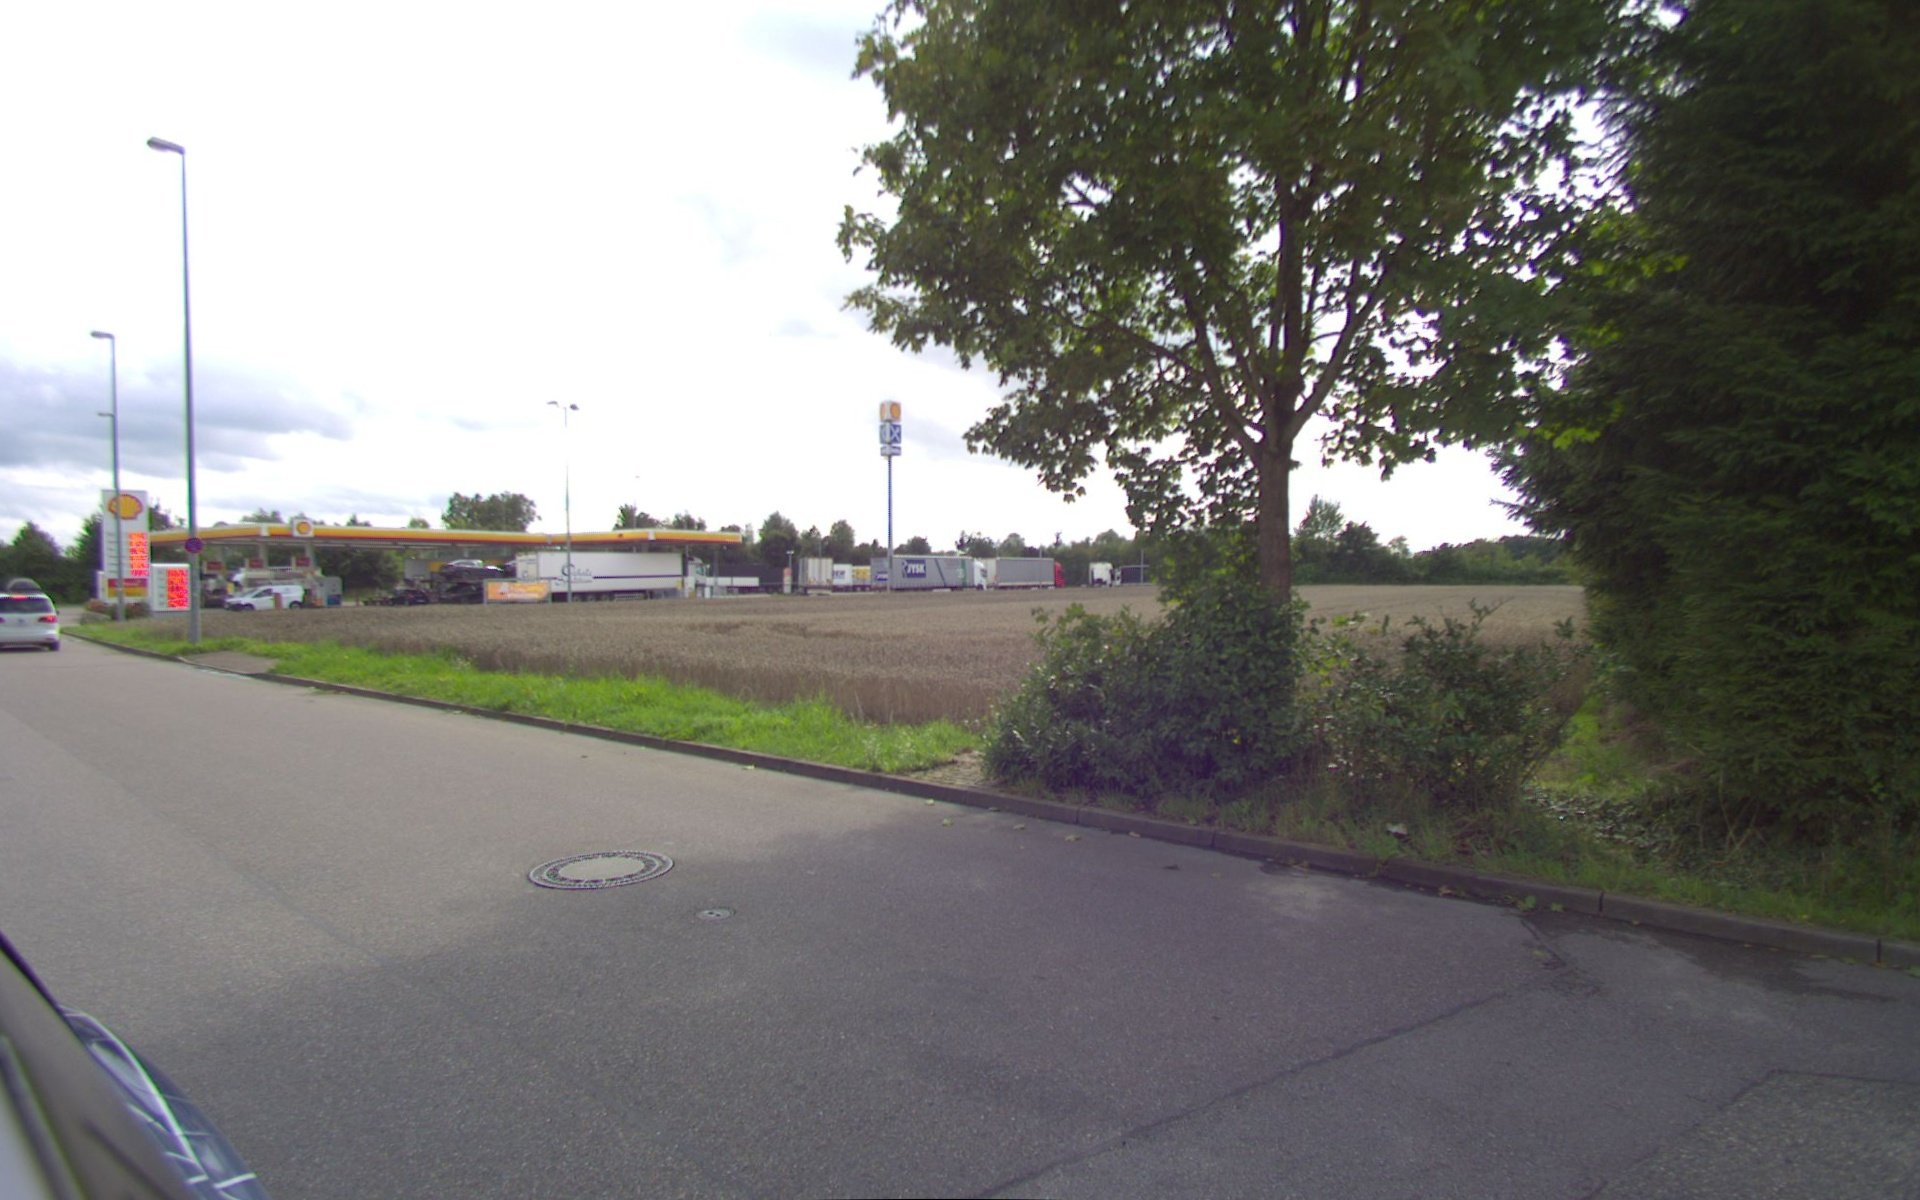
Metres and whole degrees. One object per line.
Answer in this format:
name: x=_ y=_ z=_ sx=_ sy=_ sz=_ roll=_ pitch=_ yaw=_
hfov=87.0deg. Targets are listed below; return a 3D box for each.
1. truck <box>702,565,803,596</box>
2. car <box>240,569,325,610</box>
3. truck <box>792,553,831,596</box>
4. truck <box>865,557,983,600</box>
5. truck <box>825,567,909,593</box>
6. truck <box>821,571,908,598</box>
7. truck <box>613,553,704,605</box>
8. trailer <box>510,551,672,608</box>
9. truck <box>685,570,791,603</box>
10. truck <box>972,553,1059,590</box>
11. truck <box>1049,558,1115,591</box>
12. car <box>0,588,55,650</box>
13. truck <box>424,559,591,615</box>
truck: x=-26.985 y=-2.547 z=131.842 sx=12.799 sy=3.922 sz=2.831 roll=0 pitch=1 yaw=-11
car: x=-49.109 y=-0.802 z=73.528 sx=2.194 sy=2.807 sz=5.807 roll=-1 pitch=1 yaw=1
truck: x=-15.574 y=-2.634 z=105.267 sx=2.914 sy=4.143 sz=14.788 roll=0 pitch=2 yaw=-13
truck: x=-3.184 y=-2.121 z=97.757 sx=2.818 sy=3.922 sz=15.280 roll=1 pitch=2 yaw=35
truck: x=-14.245 y=-3.148 z=155.745 sx=12.596 sy=3.922 sz=2.832 roll=0 pitch=1 yaw=-13
truck: x=-14.115 y=-2.367 z=149.775 sx=12.596 sy=3.922 sz=2.832 roll=0 pitch=1 yaw=-13
truck: x=-24.620 y=-1.730 z=82.935 sx=2.704 sy=4.055 sz=7.091 roll=-1 pitch=1 yaw=32
trailer: x=-27.934 y=-1.597 z=77.662 sx=2.704 sy=4.055 sz=12.708 roll=-1 pitch=1 yaw=32
truck: x=-27.335 y=-1.696 z=124.623 sx=12.596 sy=3.922 sz=2.832 roll=0 pitch=1 yaw=-13
truck: x=6.459 y=-3.179 z=113.538 sx=2.815 sy=3.922 sz=15.294 roll=1 pitch=2 yaw=32
truck: x=15.581 y=-3.247 z=128.279 sx=2.818 sy=3.922 sz=12.659 roll=1 pitch=2 yaw=35
car: x=-27.494 y=0.519 z=29.145 sx=4.030 sy=1.678 sz=1.681 roll=0 pitch=0 yaw=41
truck: x=-34.139 y=-1.099 z=77.344 sx=2.736 sy=3.953 sz=13.150 roll=1 pitch=2 yaw=24
